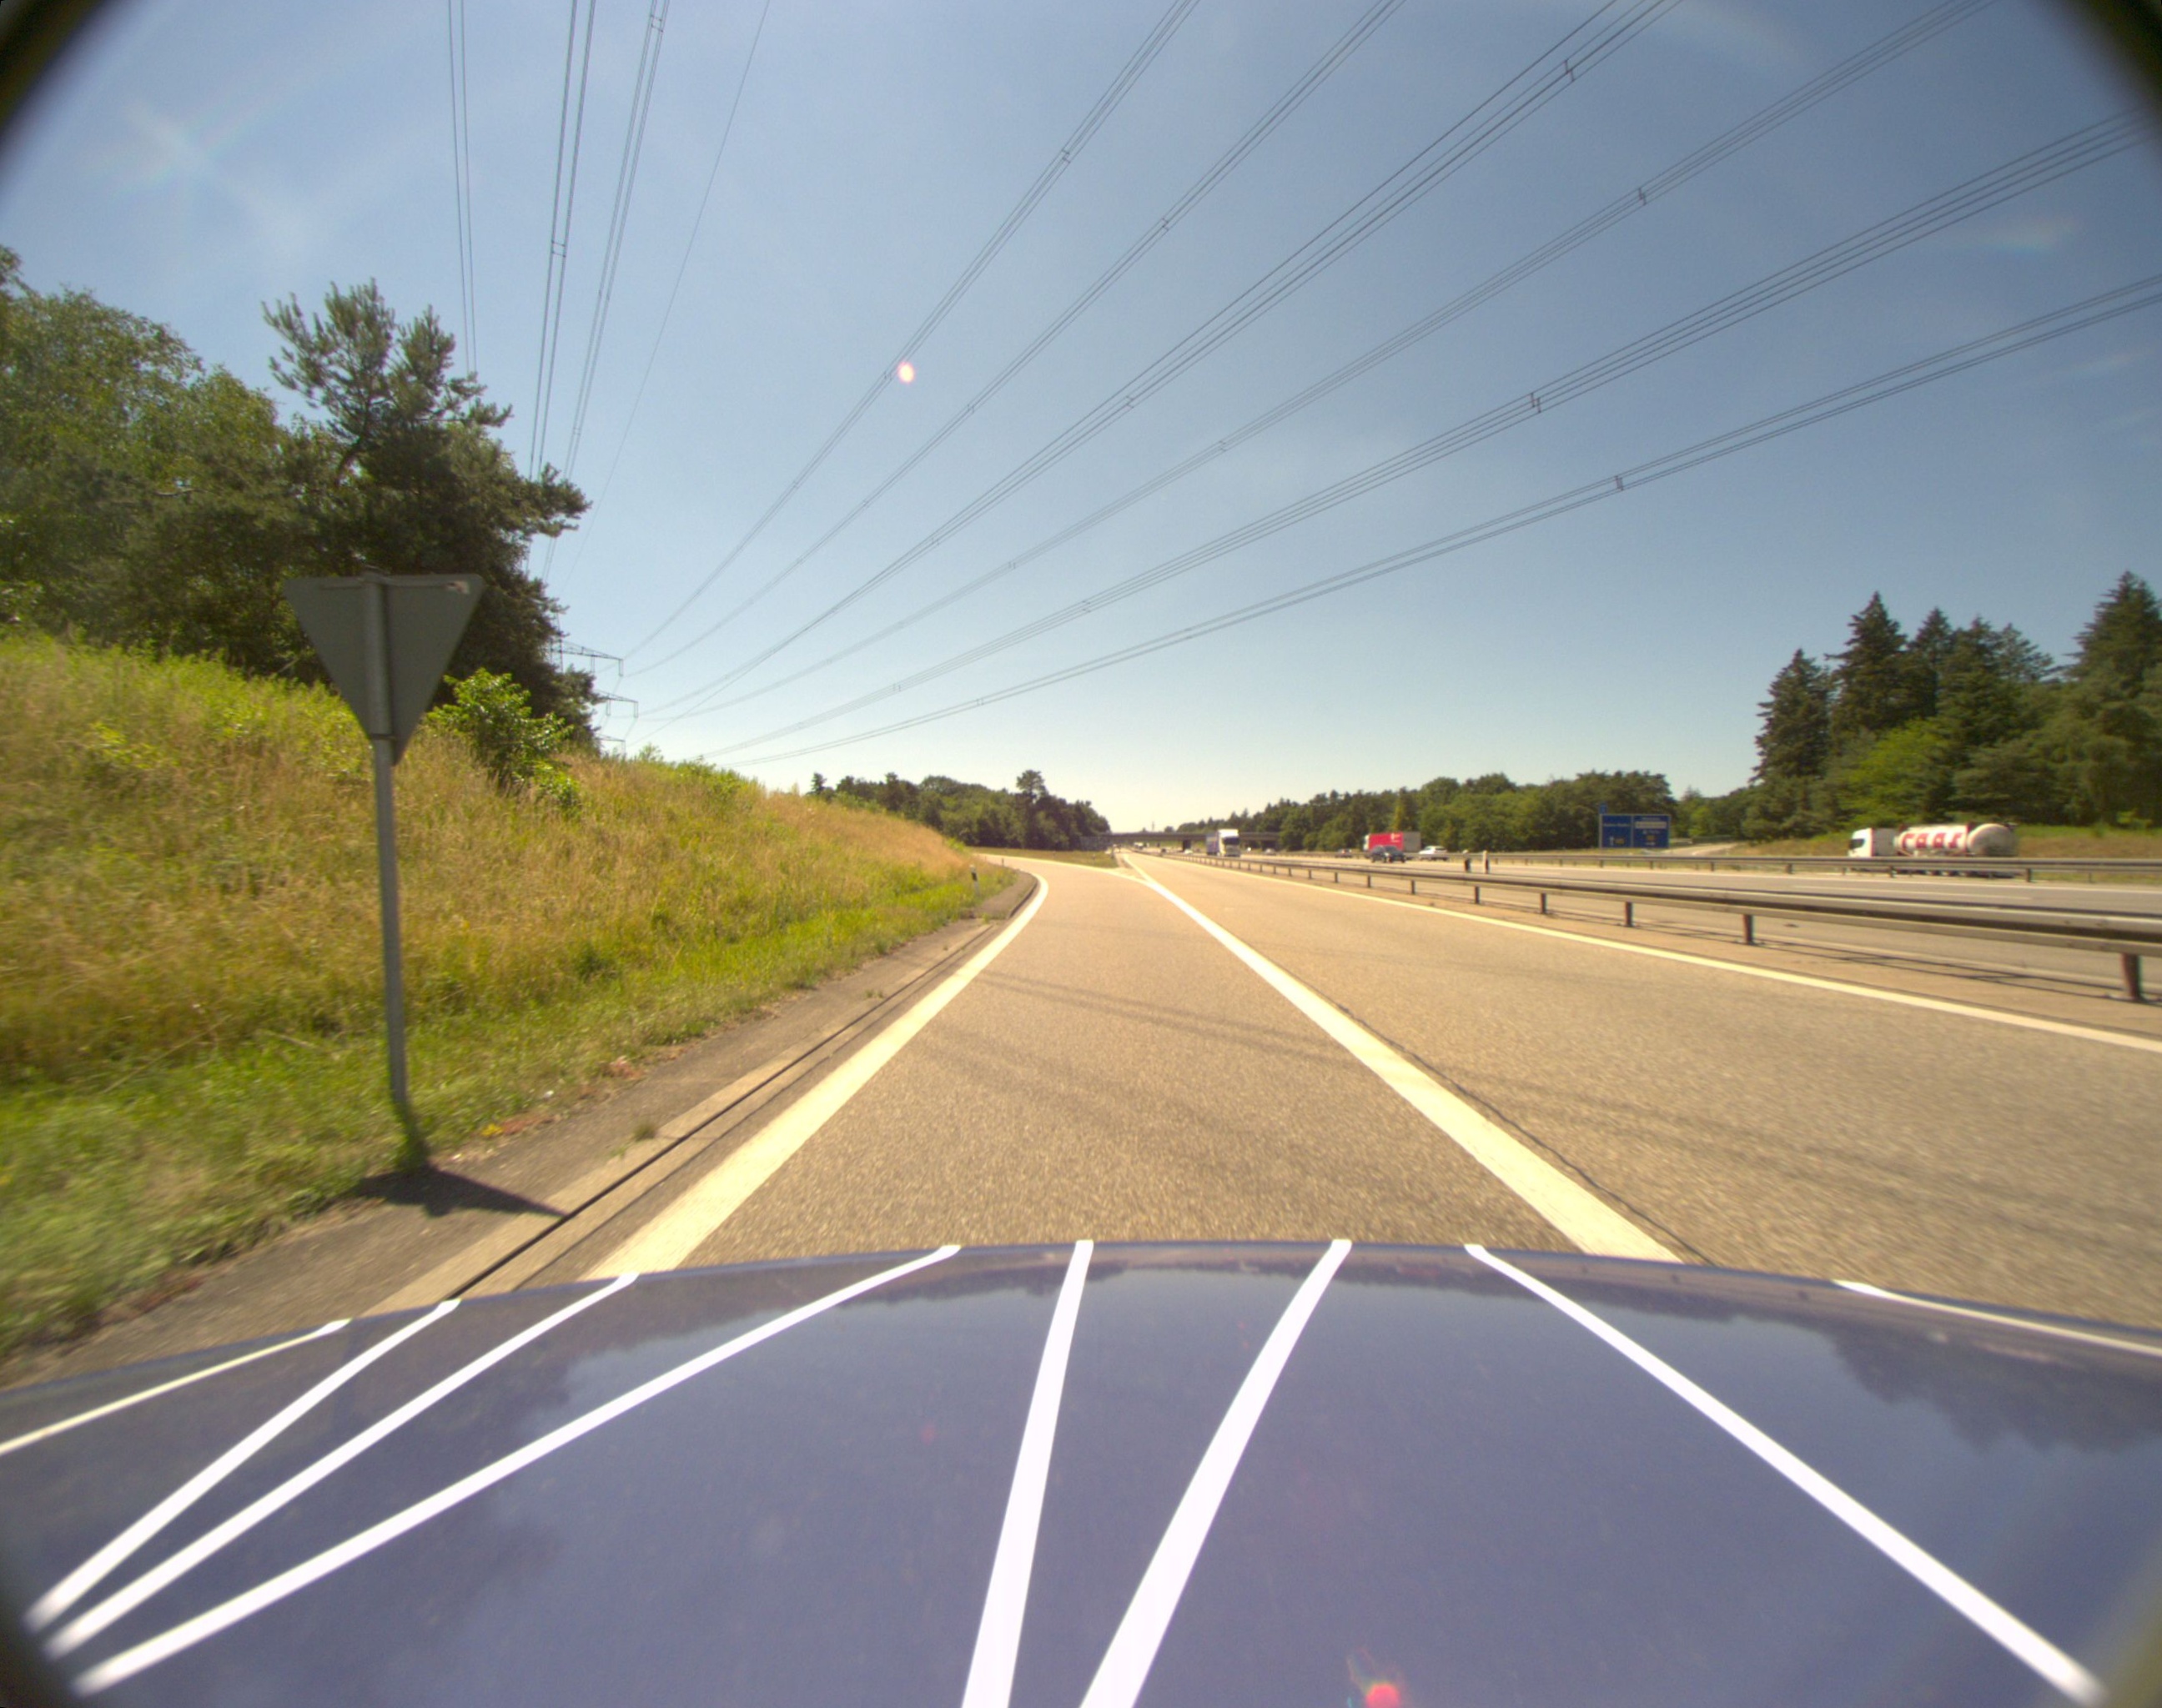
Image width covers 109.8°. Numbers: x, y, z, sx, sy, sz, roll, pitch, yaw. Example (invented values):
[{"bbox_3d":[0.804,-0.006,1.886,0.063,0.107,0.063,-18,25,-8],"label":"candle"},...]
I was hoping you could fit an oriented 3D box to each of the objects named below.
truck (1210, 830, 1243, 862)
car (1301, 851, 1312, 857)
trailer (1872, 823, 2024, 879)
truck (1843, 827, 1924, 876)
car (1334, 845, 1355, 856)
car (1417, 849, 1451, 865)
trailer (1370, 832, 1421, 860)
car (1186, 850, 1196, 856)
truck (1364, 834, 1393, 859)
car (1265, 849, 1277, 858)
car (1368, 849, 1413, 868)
[{"bbox_3d":[19.949,-1.083,104.607,2.709,4.035,11.048,-1,0,2],"label":"truck"},{"bbox_3d":[63.181,-0.078,213.062,1.998,1.641,4.000,-1,0,0],"label":"car"},{"bbox_3d":[63.306,-0.196,55.902,2.776,3.775,8.946,-1,0,14],"label":"trailer"},{"bbox_3d":[64.702,-0.192,61.355,2.771,3.775,4.004,-1,0,14],"label":"truck"},{"bbox_3d":[41.775,-0.577,120.529,1.920,1.674,4.824,-1,2,2],"label":"car"},{"bbox_3d":[40.237,0.293,86.735,1.776,1.674,4.824,-1,2,2],"label":"car"},{"bbox_3d":[45.859,-1.117,111.377,2.547,3.775,13.744,-1,0,3],"label":"trailer"},{"bbox_3d":[29.141,-0.283,201.962,1.999,1.559,3.999,-1,0,0],"label":"car"},{"bbox_3d":[46.270,-1.108,118.392,2.547,3.775,5.669,-1,0,3],"label":"truck"},{"bbox_3d":[40.220,-0.068,161.041,1.775,1.674,4.825,-1,2,5],"label":"car"},{"bbox_3d":[25.647,0.354,63.142,1.998,1.467,4.242,-1,1,0],"label":"car"}]
